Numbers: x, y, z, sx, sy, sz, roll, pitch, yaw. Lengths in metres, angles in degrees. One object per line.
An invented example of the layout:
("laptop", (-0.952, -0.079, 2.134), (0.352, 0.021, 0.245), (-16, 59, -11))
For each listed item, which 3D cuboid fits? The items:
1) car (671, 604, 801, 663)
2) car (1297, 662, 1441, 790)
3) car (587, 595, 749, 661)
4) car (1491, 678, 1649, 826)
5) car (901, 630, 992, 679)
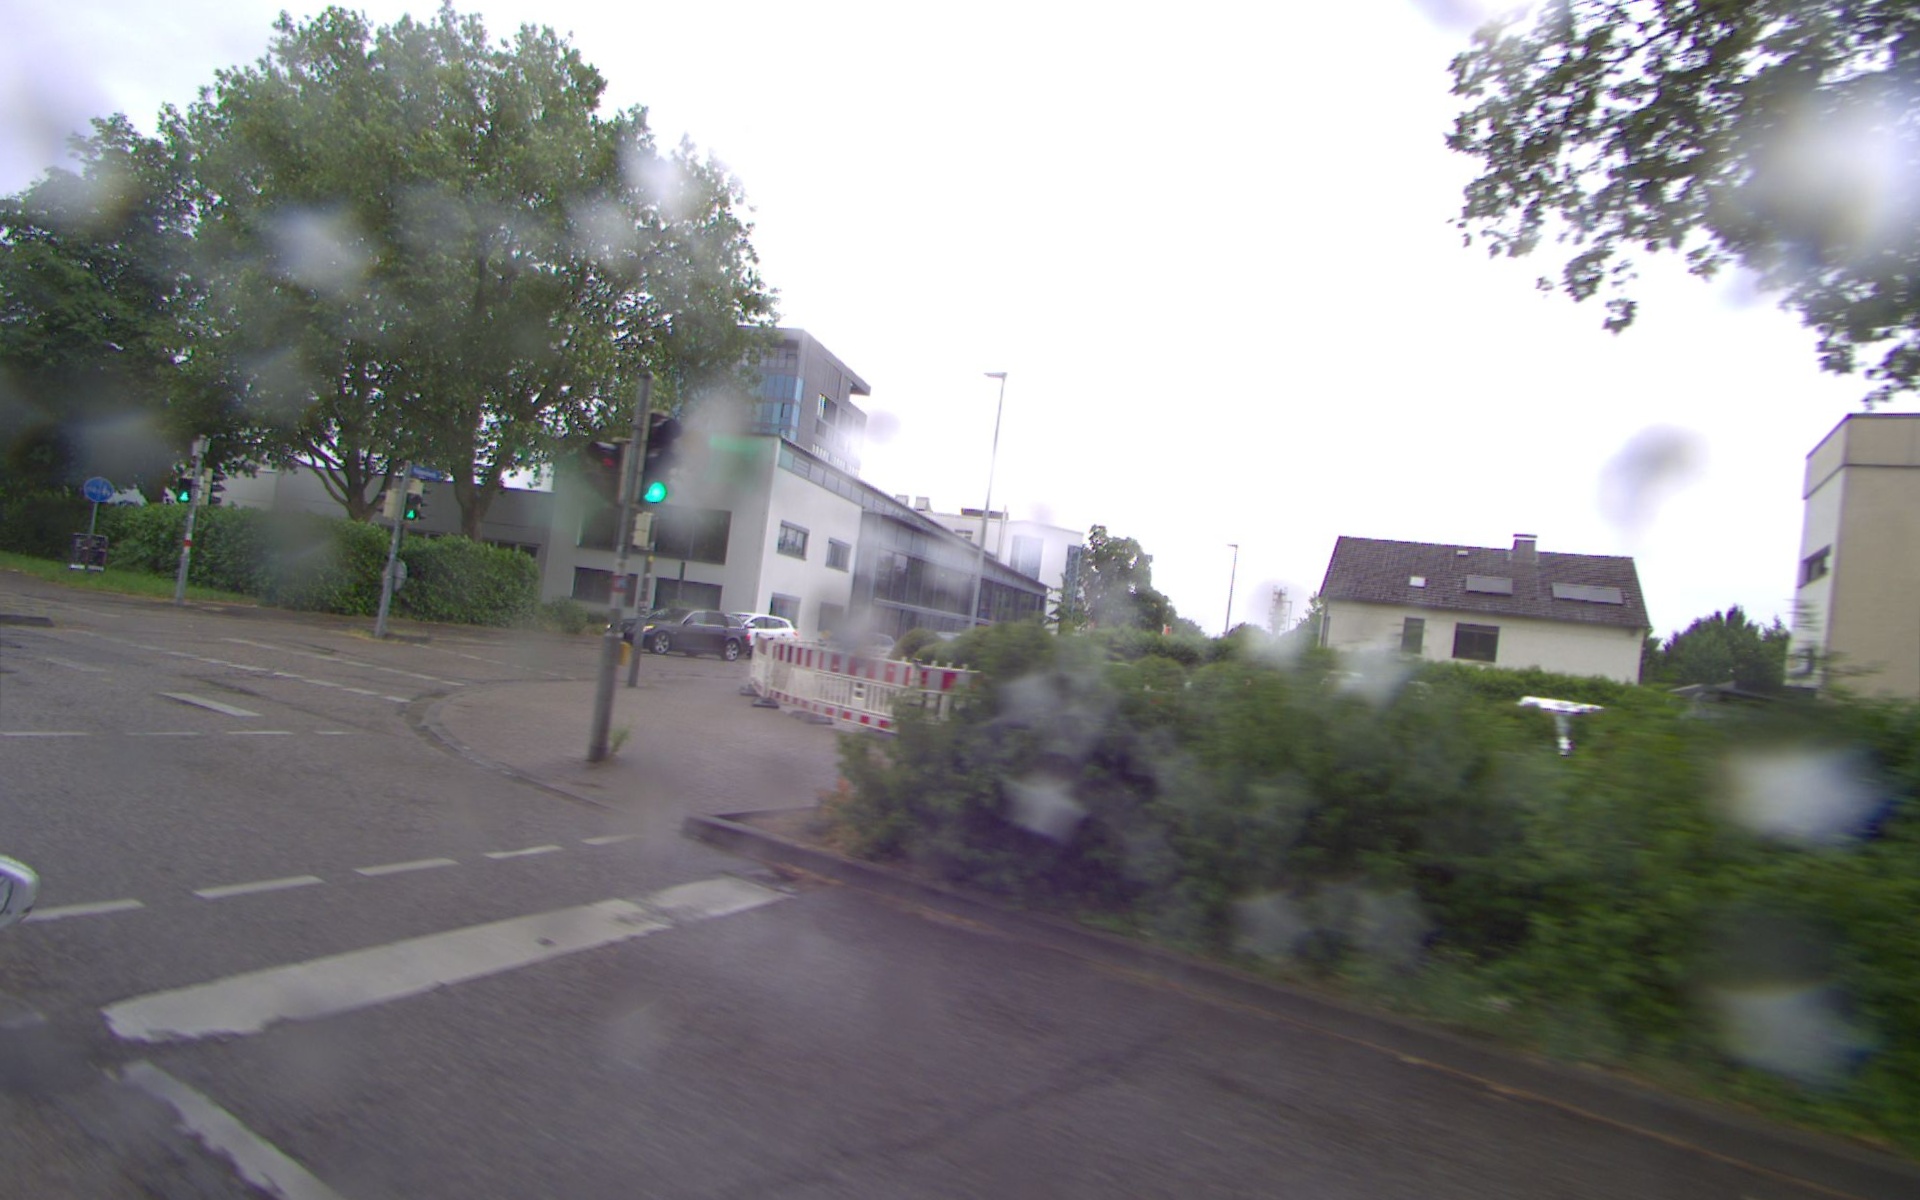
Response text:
("car", (-7.733, 1.213, 35.192), (1.857, 1.609, 4.300), (6, -2, 31))
("car", (7.440, 2.174, 18.016), (1.750, 1.777, 4.548), (6, -2, 29))
("car", (-8.424, 0.861, 29.387), (1.822, 1.500, 4.385), (5, -3, 31))
("car", (9.612, 2.292, 15.957), (1.720, 1.777, 4.545), (6, -2, 31))
("car", (-0.532, 2.463, 44.822), (1.796, 1.818, 4.477), (6, -2, 31))
